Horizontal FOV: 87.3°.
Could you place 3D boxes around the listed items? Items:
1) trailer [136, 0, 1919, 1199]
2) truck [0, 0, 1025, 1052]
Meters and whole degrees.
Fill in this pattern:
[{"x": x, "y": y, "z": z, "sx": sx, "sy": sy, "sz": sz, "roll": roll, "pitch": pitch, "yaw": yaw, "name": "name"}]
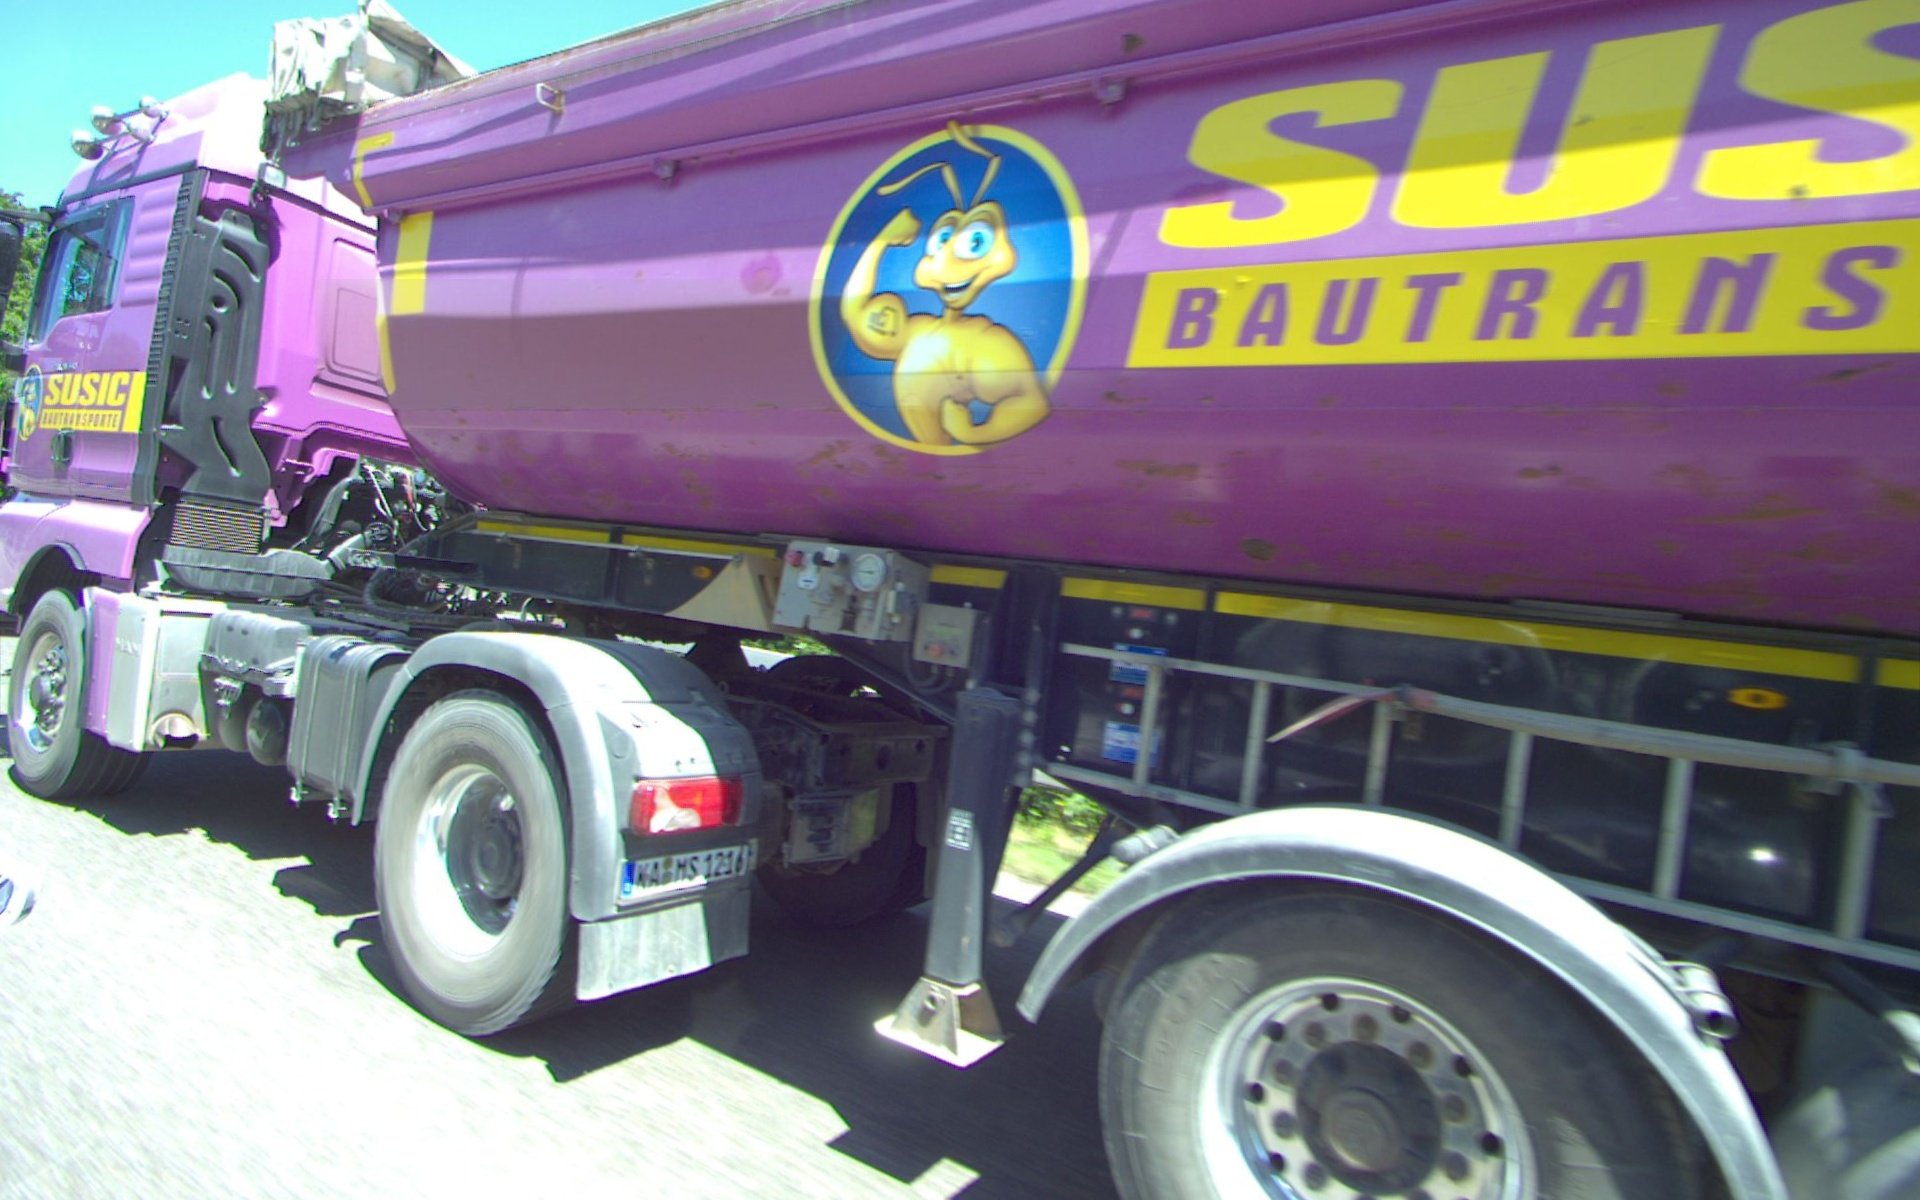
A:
[{"x": 1.060, "y": -0.234, "z": 3.080, "sx": 8.470, "sy": 3.673, "sz": 2.602, "roll": 7, "pitch": 0, "yaw": 31, "name": "trailer"}, {"x": -3.020, "y": -0.710, "z": 5.583, "sx": 5.839, "sy": 3.736, "sz": 2.602, "roll": 7, "pitch": 0, "yaw": 31, "name": "truck"}]
